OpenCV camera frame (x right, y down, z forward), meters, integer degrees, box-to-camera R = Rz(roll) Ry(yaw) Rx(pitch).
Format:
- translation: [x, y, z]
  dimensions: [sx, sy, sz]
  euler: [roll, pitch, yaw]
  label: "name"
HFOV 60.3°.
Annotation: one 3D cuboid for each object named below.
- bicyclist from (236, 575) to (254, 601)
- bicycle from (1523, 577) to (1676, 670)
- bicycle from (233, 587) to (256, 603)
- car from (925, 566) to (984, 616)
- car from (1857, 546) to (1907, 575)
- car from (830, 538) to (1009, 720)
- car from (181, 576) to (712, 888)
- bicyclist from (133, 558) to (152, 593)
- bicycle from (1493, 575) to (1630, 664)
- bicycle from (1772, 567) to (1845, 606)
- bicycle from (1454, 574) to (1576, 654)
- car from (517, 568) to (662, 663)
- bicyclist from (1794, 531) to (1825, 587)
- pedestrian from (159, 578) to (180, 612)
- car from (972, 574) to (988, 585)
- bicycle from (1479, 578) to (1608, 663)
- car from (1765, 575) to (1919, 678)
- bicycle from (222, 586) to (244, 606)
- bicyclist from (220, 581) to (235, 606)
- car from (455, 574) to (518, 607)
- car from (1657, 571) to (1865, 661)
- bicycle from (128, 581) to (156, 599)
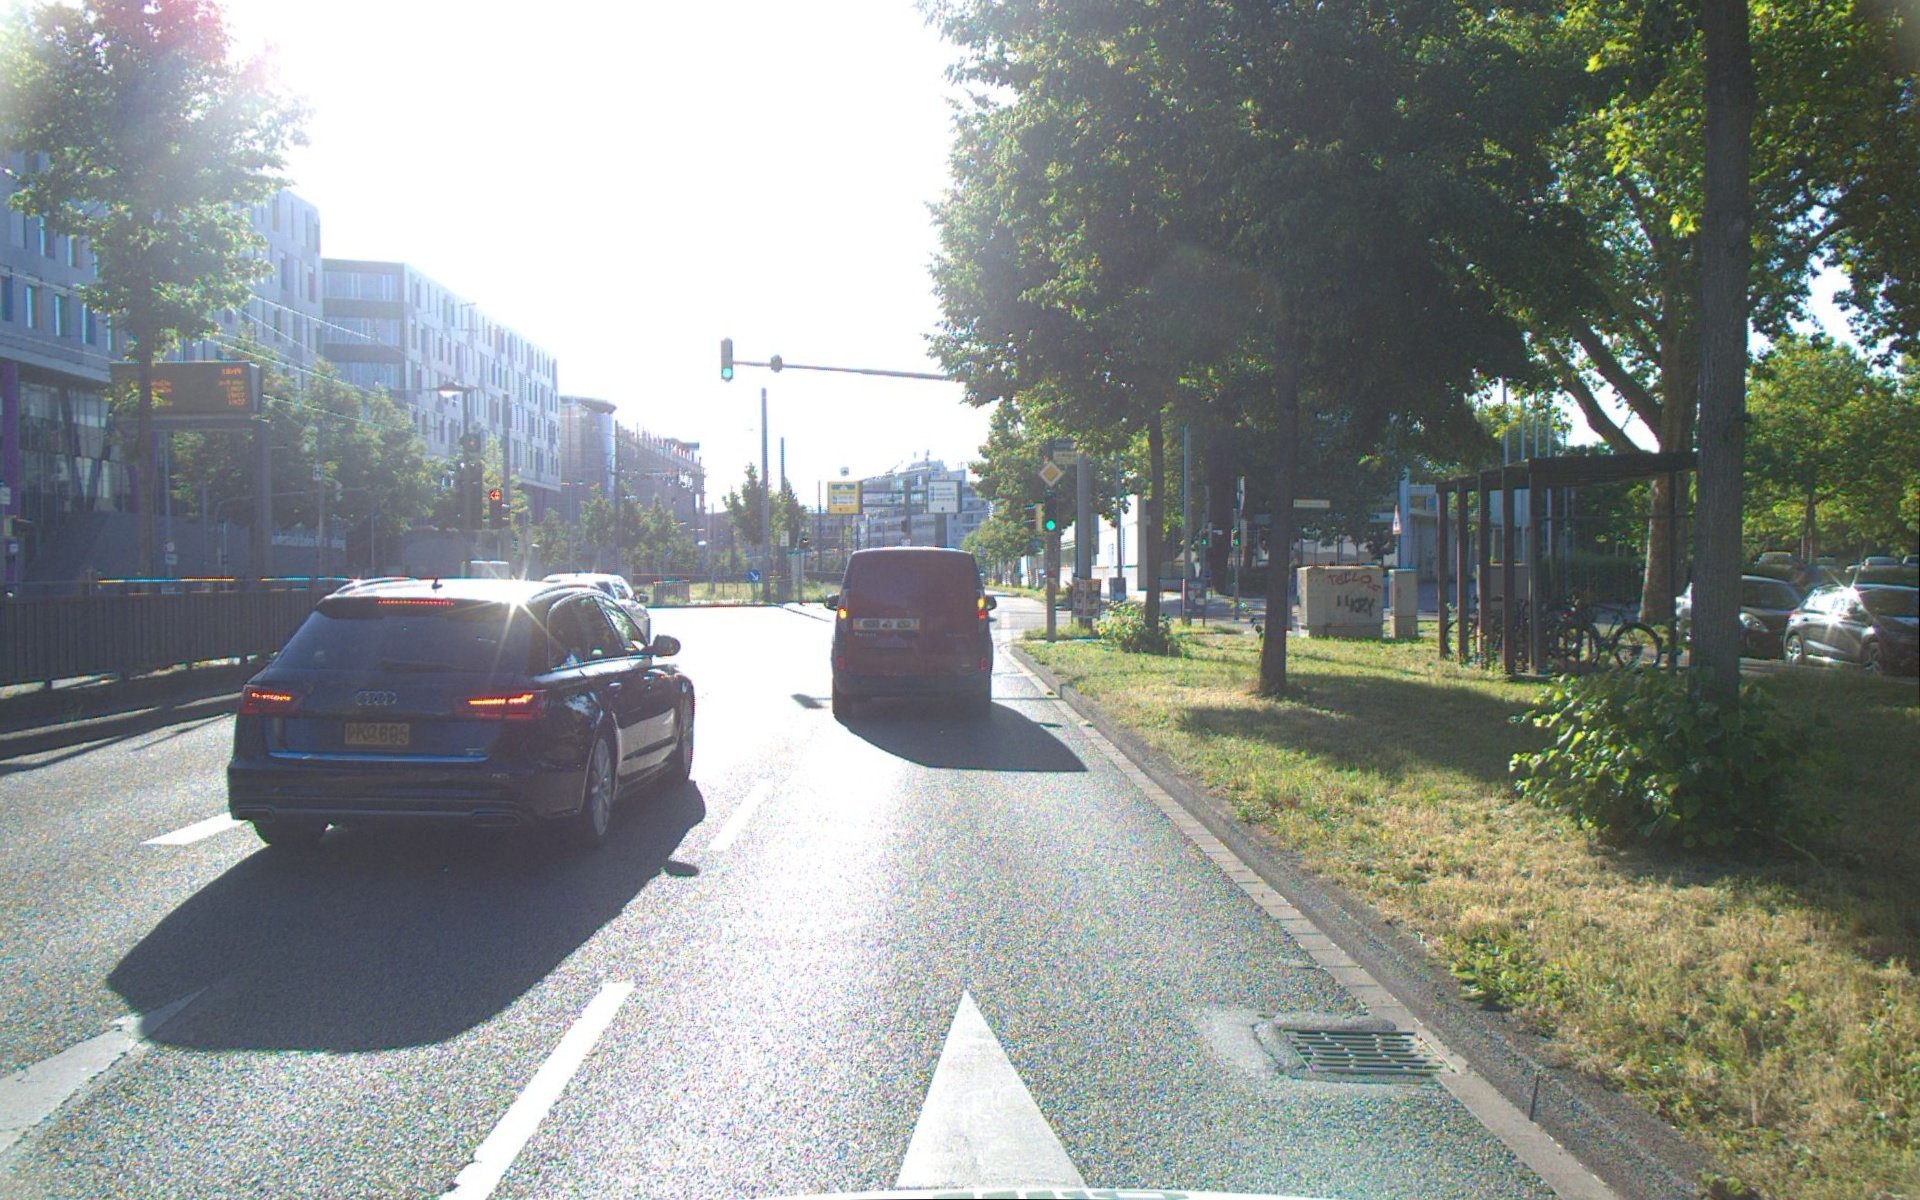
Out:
- translation: [-41.355, -0.707, 95.680]
  dimensions: [0.558, 1.460, 0.958]
  euler: [-1, 1, 0]
  label: "bicyclist"
- translation: [8.289, 0.297, 21.480]
  dimensions: [1.765, 1.189, 0.551]
  euler: [0, 1, 2]
  label: "bicycle"
- translation: [-41.354, -0.274, 95.641]
  dimensions: [0.564, 0.878, 1.692]
  euler: [-1, 1, 0]
  label: "bicycle"
- translation: [-0.213, -0.320, 54.287]
  dimensions: [1.815, 1.573, 3.999]
  euler: [1, 1, -2]
  label: "car"
- translation: [49.959, -2.157, 89.681]
  dimensions: [1.953, 1.491, 3.999]
  euler: [1, 2, 24]
  label: "car"
- translation: [-0.464, 0.266, 19.053]
  dimensions: [1.811, 1.846, 4.113]
  euler: [1, 1, -2]
  label: "car"
- translation: [-2.791, 0.592, 10.197]
  dimensions: [1.775, 1.452, 4.690]
  euler: [1, 1, 0]
  label: "car"
- translation: [-41.111, -1.247, 83.215]
  dimensions: [0.519, 1.756, 0.837]
  euler: [-1, 1, 0]
  label: "bicyclist"
- translation: [8.177, 0.254, 22.528]
  dimensions: [1.661, 1.189, 0.551]
  euler: [0, 1, 0]
  label: "bicycle"
- translation: [27.311, -0.426, 53.251]
  dimensions: [2.057, 1.224, 0.550]
  euler: [0, 2, 29]
  label: "bicycle"
- translation: [8.346, 0.202, 24.896]
  dimensions: [1.660, 1.189, 0.552]
  euler: [0, 1, 7]
  label: "bicycle"
- translation: [-6.165, 0.215, 27.918]
  dimensions: [1.637, 1.451, 4.004]
  euler: [1, 1, -2]
  label: "car"
- translation: [27.324, -1.311, 53.186]
  dimensions: [0.858, 1.767, 0.831]
  euler: [0, 2, 29]
  label: "bicyclist"
- translation: [-43.378, -0.270, 90.788]
  dimensions: [0.706, 1.853, 0.871]
  euler: [-1, 1, -1]
  label: "pedestrian"
- translation: [2.654, -2.780, 223.443]
  dimensions: [1.815, 1.506, 4.852]
  euler: [-2, 1, -2]
  label: "car"
- translation: [8.364, 0.288, 23.743]
  dimensions: [1.661, 1.189, 0.551]
  euler: [0, 1, 1]
  label: "bicycle"
- translation: [14.174, 0.339, 25.179]
  dimensions: [1.854, 1.436, 4.348]
  euler: [0, 1, 2]
  label: "car"
- translation: [-44.357, -0.232, 100.956]
  dimensions: [0.509, 1.193, 1.975]
  euler: [-1, 1, -1]
  label: "bicycle"
- translation: [-44.686, -0.393, 100.948]
  dimensions: [0.547, 1.522, 0.763]
  euler: [-1, 1, -1]
  label: "bicyclist"
- translation: [-23.610, -0.494, 82.621]
  dimensions: [1.954, 1.589, 4.870]
  euler: [-1, 1, -3]
  label: "car"
- translation: [14.234, 0.233, 29.657]
  dimensions: [1.854, 1.491, 4.038]
  euler: [0, 1, 2]
  label: "car"
- translation: [-41.100, -0.517, 83.113]
  dimensions: [0.517, 0.878, 1.834]
  euler: [-1, 1, 0]
  label: "bicycle"
